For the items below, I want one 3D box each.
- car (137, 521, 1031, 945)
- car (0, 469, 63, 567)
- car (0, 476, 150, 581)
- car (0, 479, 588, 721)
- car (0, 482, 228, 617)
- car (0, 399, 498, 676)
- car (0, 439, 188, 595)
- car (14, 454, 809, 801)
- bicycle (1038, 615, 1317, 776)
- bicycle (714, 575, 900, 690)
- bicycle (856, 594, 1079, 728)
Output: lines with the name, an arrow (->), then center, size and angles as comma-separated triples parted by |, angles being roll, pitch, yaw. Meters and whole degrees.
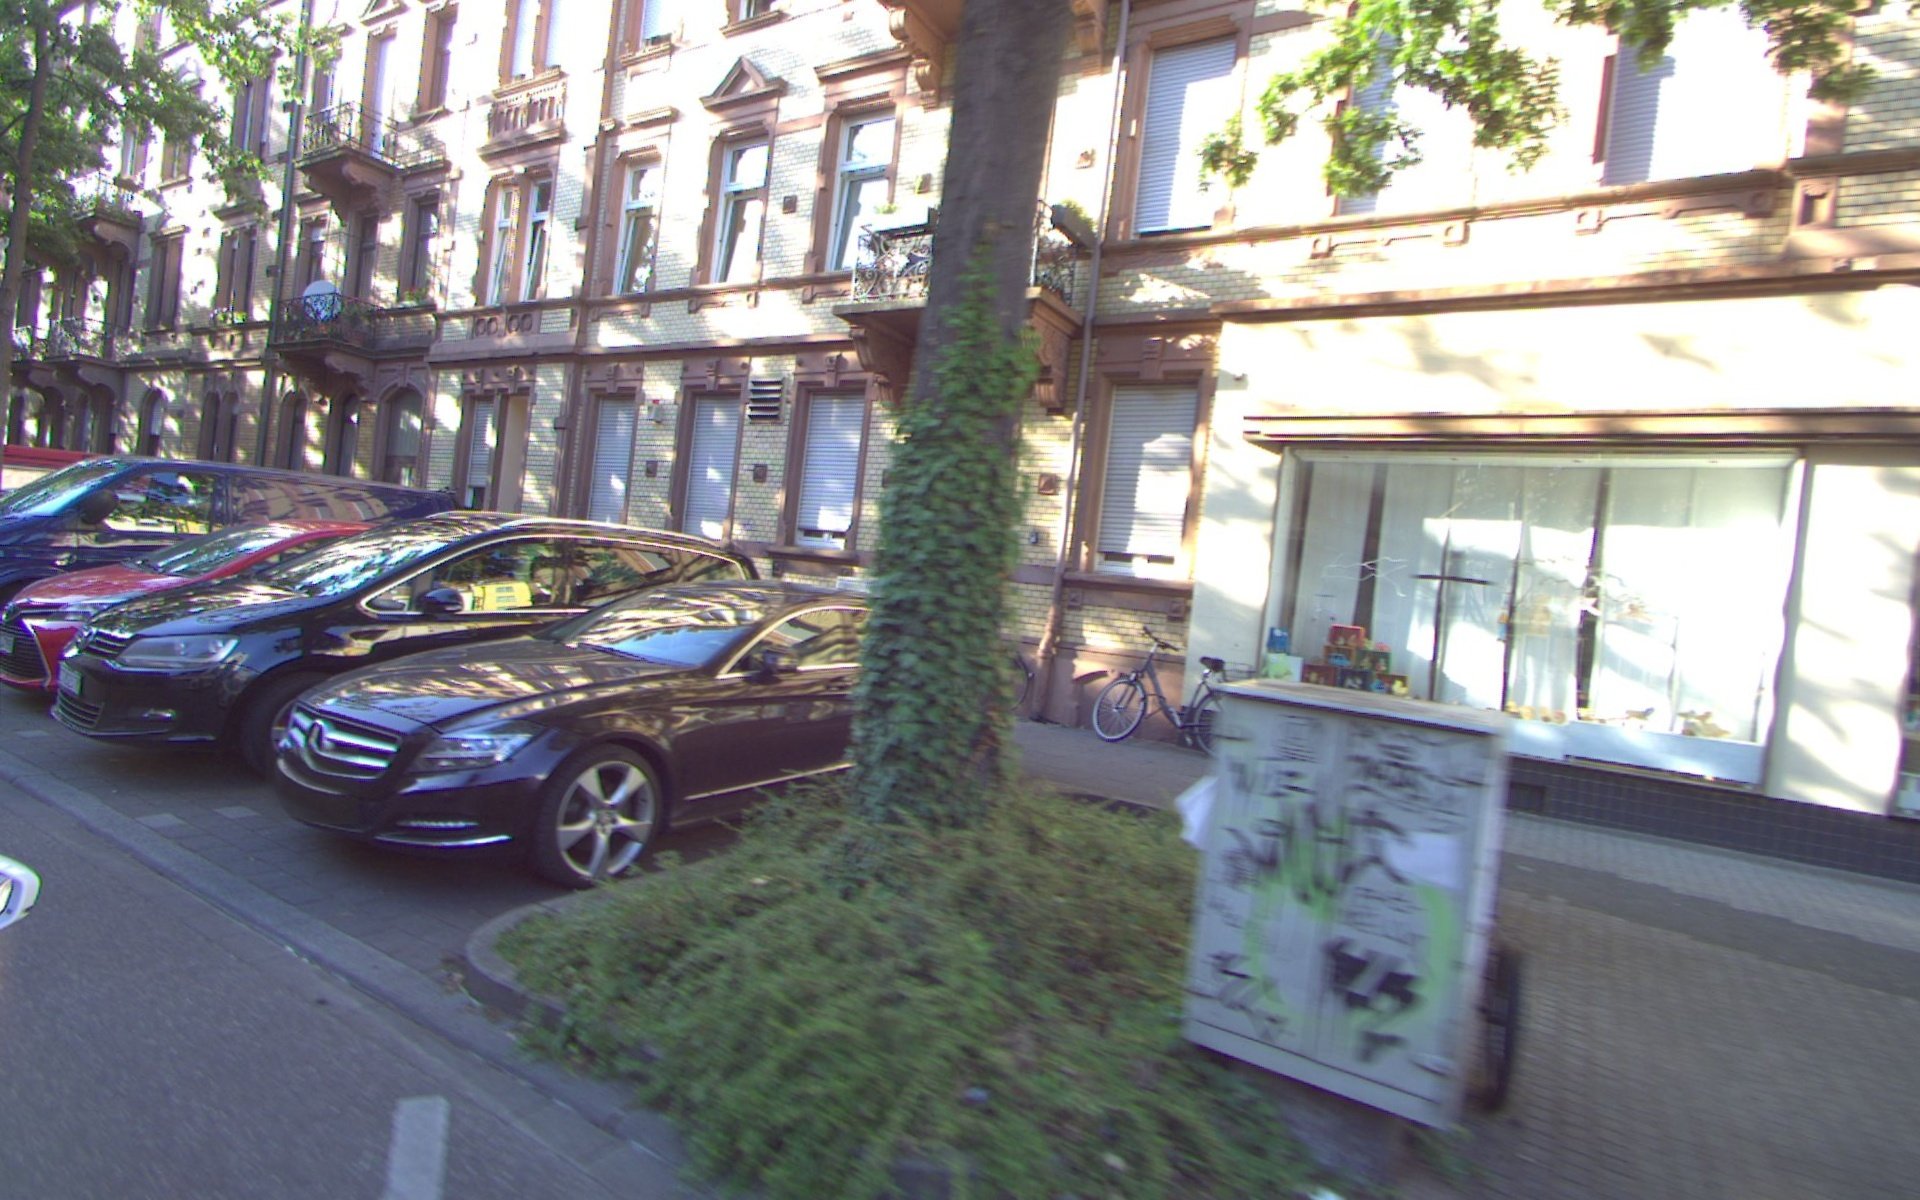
car -> -1.636, 0.552, 6.051 | 1.822, 1.431, 4.784 | 6, 1, 35
car -> -18.116, -1.585, 16.919 | 1.808, 1.649, 4.184 | 7, 2, 35
car -> -15.977, -1.268, 15.821 | 1.849, 1.534, 4.674 | 7, 1, 34
car -> -5.571, 0.093, 8.710 | 1.697, 1.553, 4.110 | 7, -1, 33
car -> -11.870, -0.693, 12.501 | 1.848, 1.530, 4.055 | 7, 1, 32
car -> -7.760, -0.474, 10.410 | 1.959, 2.242, 5.028 | 7, -1, 31
car -> -14.039, -1.268, 14.119 | 1.847, 2.060, 4.679 | 7, 1, 29
car -> -3.497, 0.187, 7.333 | 1.823, 1.700, 4.682 | 7, 1, 38
bicycle -> 2.087, 0.880, 9.976 | 2.552, 1.187, 0.670 | 7, 3, 35
bicycle -> -2.016, 0.380, 12.974 | 2.552, 1.187, 0.670 | 7, 3, 35
bicycle -> 0.031, 0.644, 11.525 | 2.552, 1.187, 0.670 | 7, 3, 35
